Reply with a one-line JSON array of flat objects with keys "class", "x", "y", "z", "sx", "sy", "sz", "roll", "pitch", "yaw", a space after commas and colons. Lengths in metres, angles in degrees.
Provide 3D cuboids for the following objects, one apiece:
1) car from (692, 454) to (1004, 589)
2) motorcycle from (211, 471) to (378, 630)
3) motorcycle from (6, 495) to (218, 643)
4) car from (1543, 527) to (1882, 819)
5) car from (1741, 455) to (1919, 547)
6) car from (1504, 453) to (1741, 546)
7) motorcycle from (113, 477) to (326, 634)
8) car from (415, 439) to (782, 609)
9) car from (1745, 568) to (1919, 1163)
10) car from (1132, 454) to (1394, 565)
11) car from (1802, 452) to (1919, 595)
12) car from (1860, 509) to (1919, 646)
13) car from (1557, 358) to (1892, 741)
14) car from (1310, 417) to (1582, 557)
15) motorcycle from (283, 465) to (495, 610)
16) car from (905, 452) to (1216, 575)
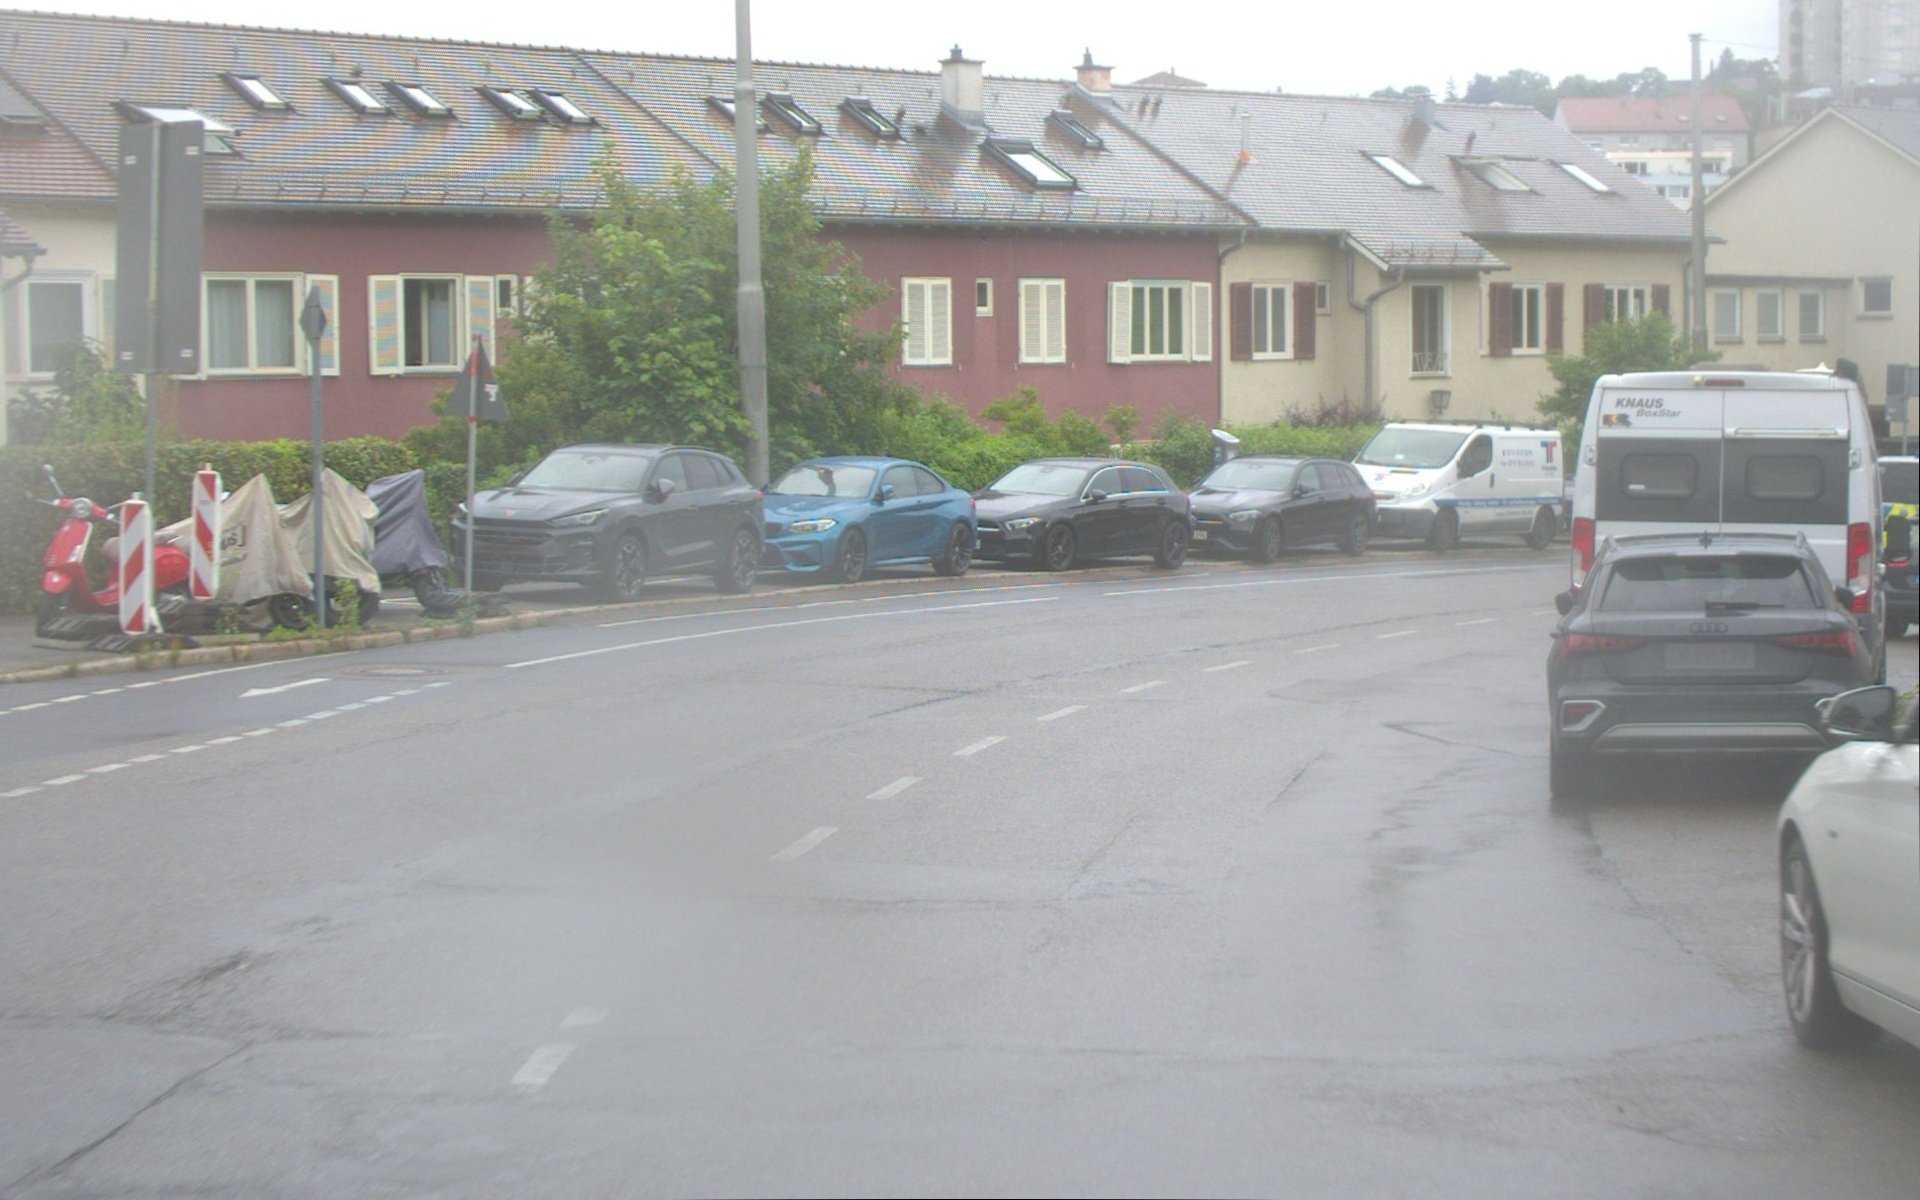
[{"class": "car", "x": -1.260, "y": -0.976, "z": 40.700, "sx": 1.702, "sy": 1.400, "sz": 4.467, "roll": 4, "pitch": 4, "yaw": 27}, {"class": "motorcycle", "x": -5.948, "y": -0.455, "z": 30.679, "sx": 0.611, "sy": 1.298, "sz": 1.807, "roll": -1, "pitch": 5, "yaw": -41}, {"class": "motorcycle", "x": -6.929, "y": -0.273, "z": 28.181, "sx": 0.510, "sy": 1.136, "sz": 1.919, "roll": 0, "pitch": 3, "yaw": 28}, {"class": "car", "x": 4.416, "y": 0.337, "z": 20.311, "sx": 1.754, "sy": 1.490, "sz": 4.182, "roll": 0, "pitch": 2, "yaw": 12}, {"class": "car", "x": 17.023, "y": -1.880, "z": 65.562, "sx": 1.934, "sy": 1.625, "sz": 4.665, "roll": 5, "pitch": 4, "yaw": 44}, {"class": "car", "x": 11.464, "y": -1.732, "z": 59.320, "sx": 1.813, "sy": 1.471, "sz": 4.511, "roll": 5, "pitch": 5, "yaw": 43}, {"class": "motorcycle", "x": -6.422, "y": -0.397, "z": 29.797, "sx": 1.803, "sy": 1.274, "sz": 0.510, "roll": 3, "pitch": 3, "yaw": 21}, {"class": "car", "x": -3.701, "y": -0.853, "z": 36.049, "sx": 1.924, "sy": 1.571, "sz": 4.383, "roll": 4, "pitch": 4, "yaw": 22}, {"class": "car", "x": 3.153, "y": 0.635, "z": 8.346, "sx": 1.705, "sy": 1.409, "sz": 4.041, "roll": -1, "pitch": 1, "yaw": 2}, {"class": "car", "x": 4.467, "y": -1.345, "z": 50.108, "sx": 1.812, "sy": 1.471, "sz": 4.514, "roll": 4, "pitch": 4, "yaw": 34}, {"class": "car", "x": 14.277, "y": -1.147, "z": 50.195, "sx": 2.313, "sy": 1.932, "sz": 4.316, "roll": 5, "pitch": 5, "yaw": 36}, {"class": "car", "x": 11.897, "y": -0.266, "z": 39.476, "sx": 1.682, "sy": 1.478, "sz": 4.193, "roll": 4, "pitch": 4, "yaw": 34}, {"class": "car", "x": 5.839, "y": -0.395, "z": 25.733, "sx": 2.100, "sy": 2.533, "sz": 5.616, "roll": 0, "pitch": 1, "yaw": 16}, {"class": "car", "x": 7.810, "y": -1.805, "z": 54.864, "sx": 1.853, "sy": 2.071, "sz": 5.009, "roll": 5, "pitch": 4, "yaw": 40}, {"class": "motorcycle", "x": -5.339, "y": -0.586, "z": 32.137, "sx": 1.900, "sy": 1.266, "sz": 0.576, "roll": 2, "pitch": 4, "yaw": -10}, {"class": "car", "x": 1.384, "y": -1.165, "z": 45.443, "sx": 1.812, "sy": 1.471, "sz": 4.513, "roll": 5, "pitch": 4, "yaw": 36}]
